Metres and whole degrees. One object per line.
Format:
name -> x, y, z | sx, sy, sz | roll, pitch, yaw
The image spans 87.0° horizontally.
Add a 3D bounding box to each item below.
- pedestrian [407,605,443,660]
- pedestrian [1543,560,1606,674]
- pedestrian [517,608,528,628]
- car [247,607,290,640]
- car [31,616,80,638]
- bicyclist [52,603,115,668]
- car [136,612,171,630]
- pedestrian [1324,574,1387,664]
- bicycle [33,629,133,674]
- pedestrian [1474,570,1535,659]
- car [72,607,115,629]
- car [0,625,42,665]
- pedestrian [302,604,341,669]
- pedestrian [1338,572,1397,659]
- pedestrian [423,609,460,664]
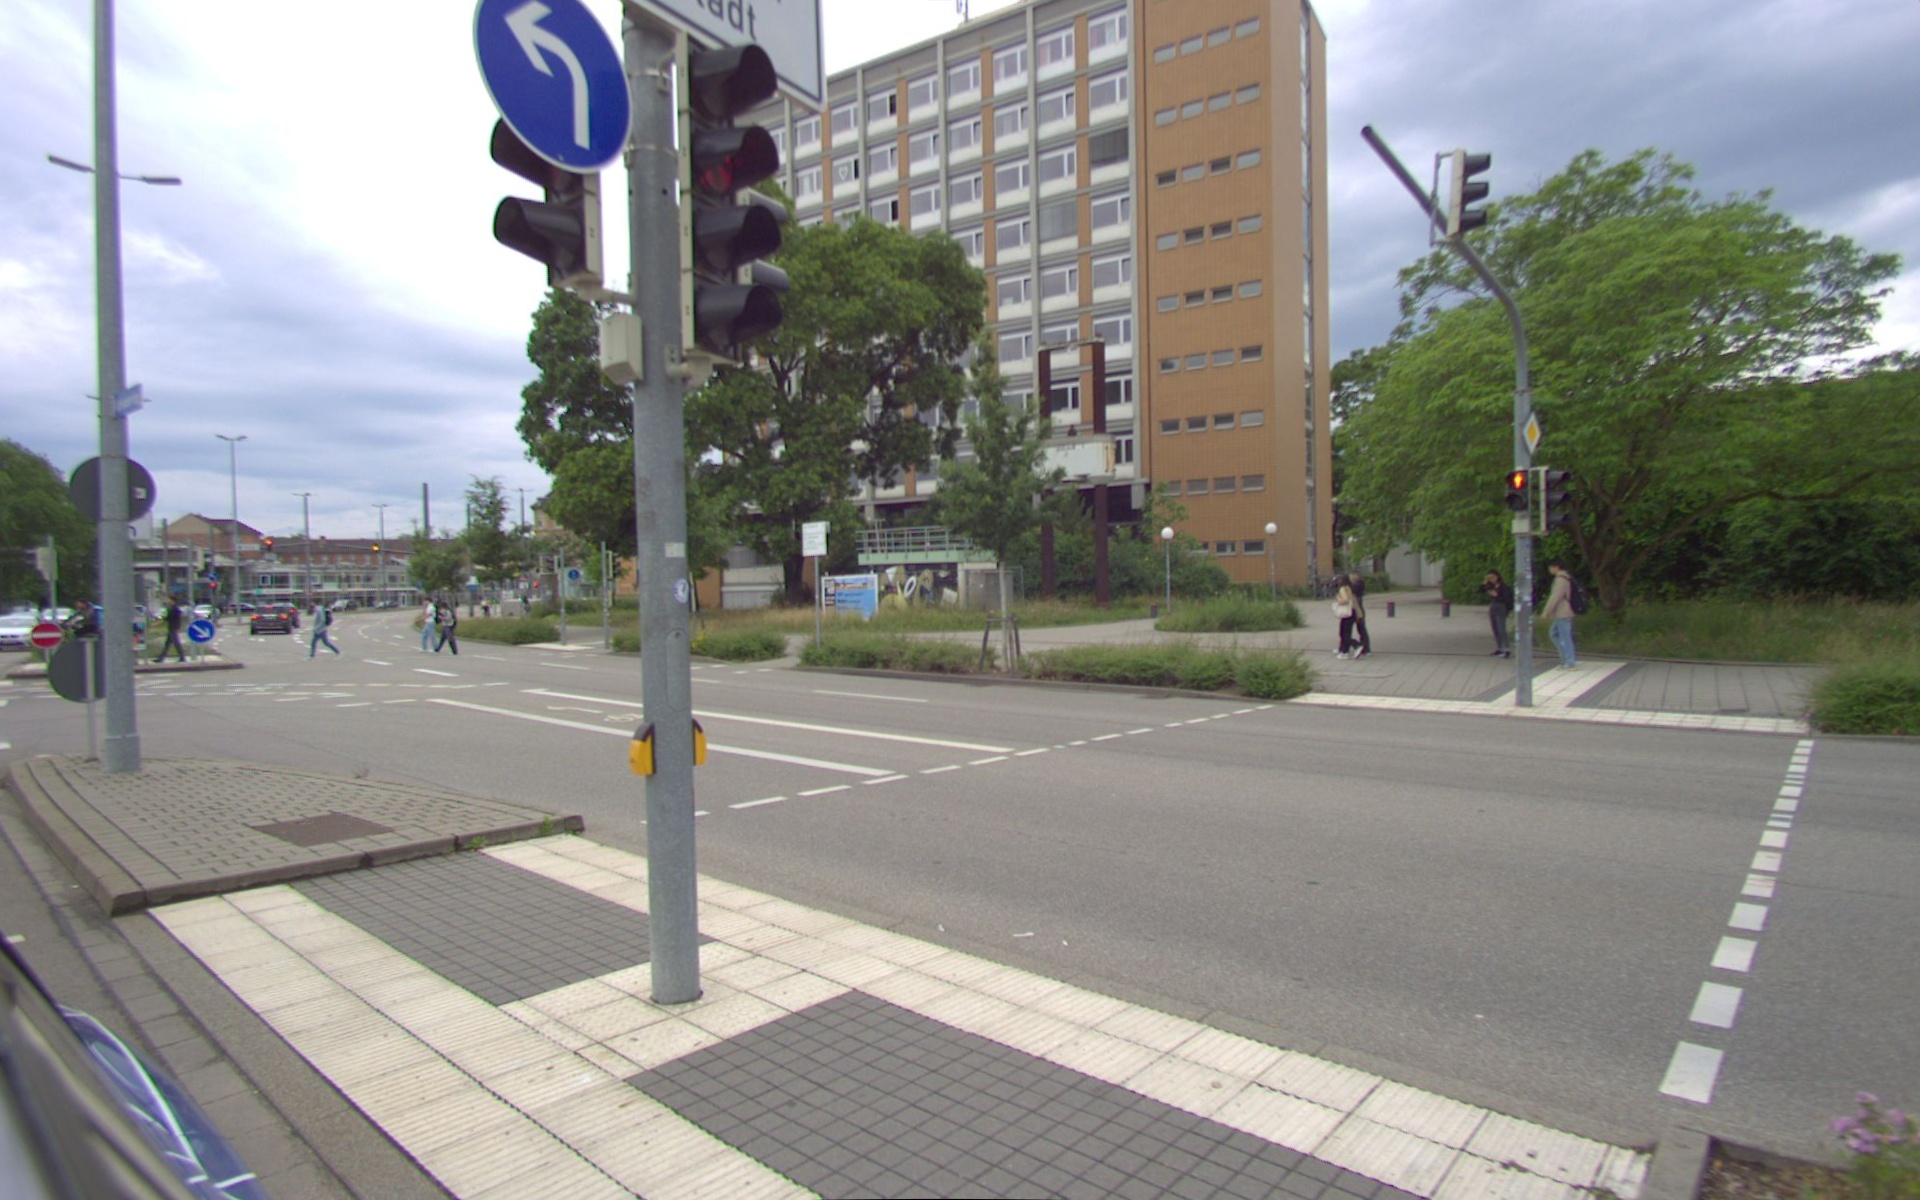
pedestrian -> -17.740, 1.069, 33.580 | 0.733, 1.818, 0.764 | -1, -1, 14
pedestrian -> 10.073, 0.273, 16.586 | 0.761, 1.814, 0.631 | -1, 0, 40
pedestrian -> -35.670, 1.479, 82.544 | 0.471, 1.633, 0.644 | -2, -1, 44
car -> -38.201, 1.281, 55.977 | 1.786, 1.679, 3.961 | 0, 1, -32
car -> -62.013, 1.836, 69.460 | 1.789, 1.486, 4.044 | 0, -1, -31
bicyclist -> -24.356, 0.978, 28.128 | 0.805, 1.749, 1.177 | -1, -1, 38
car -> -74.460, 1.970, 93.462 | 1.583, 1.608, 3.771 | 0, -1, -23
pedestrian -> 7.678, 0.362, 19.651 | 0.942, 1.683, 0.699 | -1, 1, 40
bicycle -> -24.359, 1.403, 28.131 | 0.805, 1.151, 1.981 | -1, -1, 38
pedestrian -> 10.220, 0.264, 19.017 | 0.822, 1.624, 0.632 | -2, 1, 15
car -> -66.426, 1.404, 77.635 | 1.775, 1.608, 3.771 | 0, -1, -29
car -> -39.325, 1.848, 41.914 | 1.759, 1.474, 3.877 | -3, 2, -40
pedestrian -> -18.310, 1.037, 29.021 | 0.905, 1.818, 0.541 | 0, -1, -38
pedestrian -> 8.183, 0.296, 20.325 | 0.889, 1.683, 0.700 | -1, 2, 40
pedestrian -> -16.284, 1.132, 31.815 | 0.704, 1.680, 0.770 | -1, -1, 28
